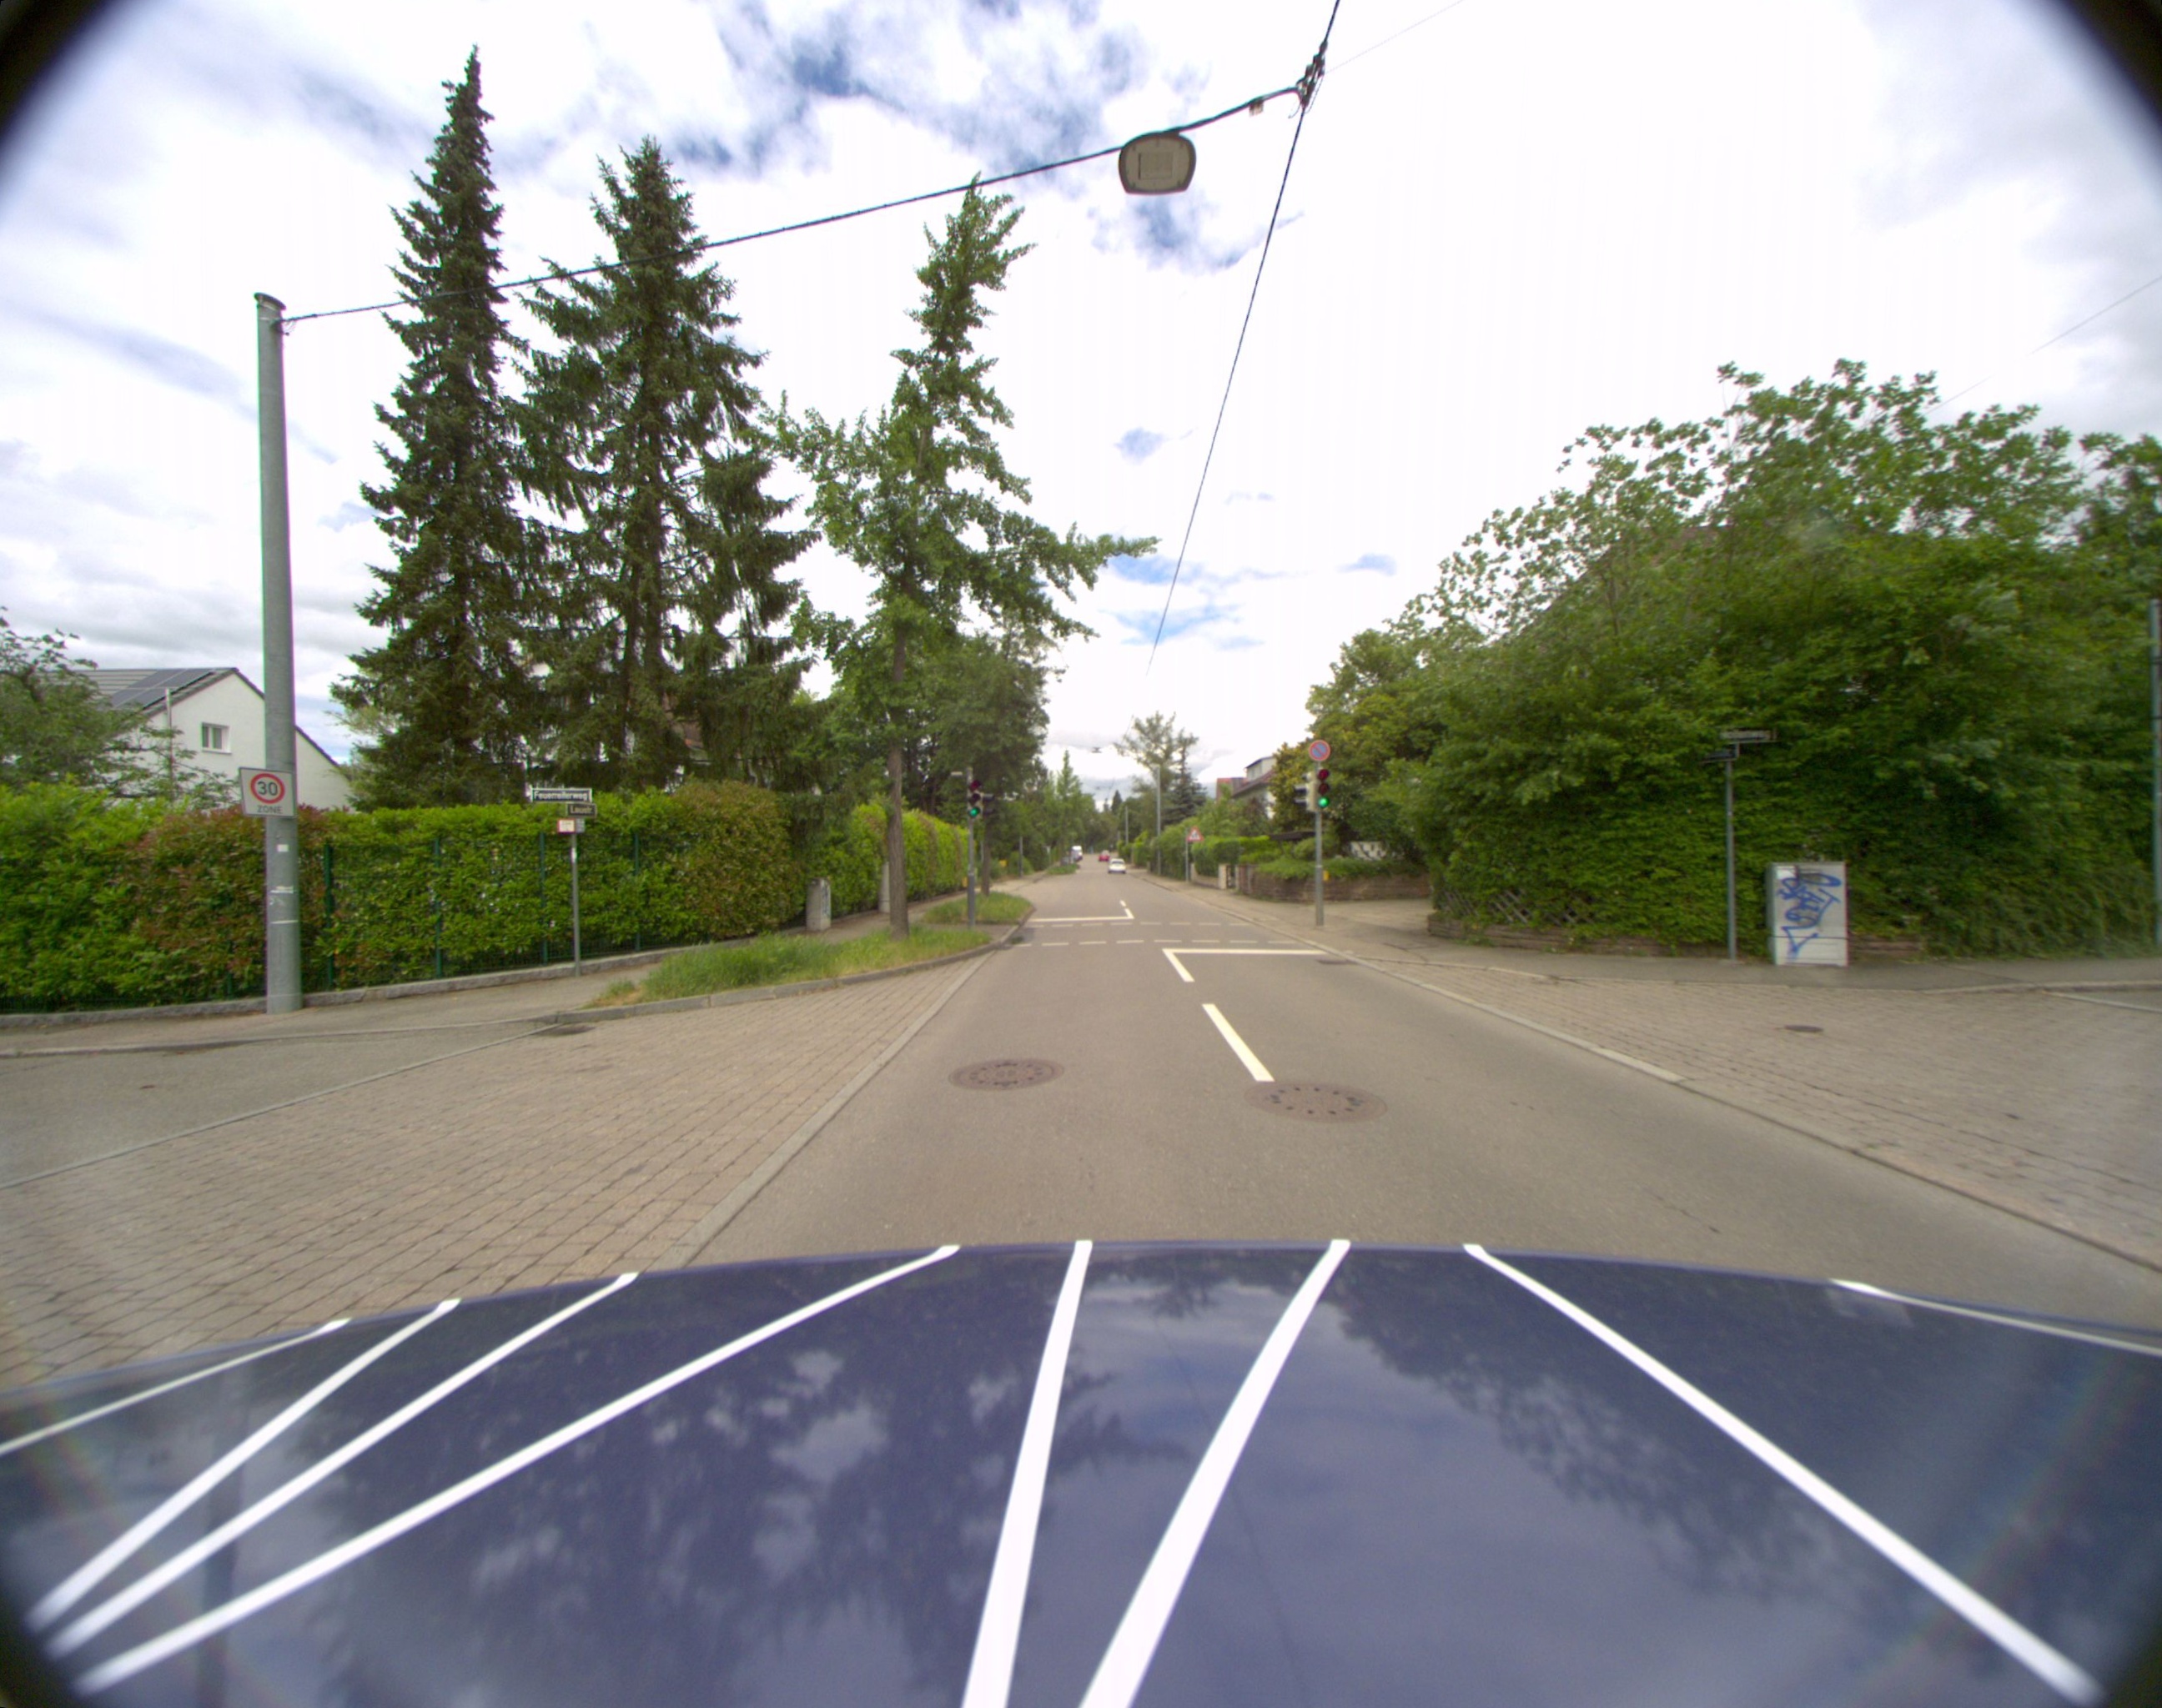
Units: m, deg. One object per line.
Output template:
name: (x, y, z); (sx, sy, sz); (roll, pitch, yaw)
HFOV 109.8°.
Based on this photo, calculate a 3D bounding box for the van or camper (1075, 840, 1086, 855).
van or camper: (-0.158, -1.274, 148.918); (2.046, 2.605, 7.036); (-2, 2, -1)

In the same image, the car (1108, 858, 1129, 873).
car: (3.900, 1.178, 79.493); (1.859, 1.443, 4.281); (1, 0, 0)

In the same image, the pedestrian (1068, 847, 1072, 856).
pedestrian: (-2.113, -0.531, 150.425); (0.671, 1.689, 0.918); (0, 2, 2)

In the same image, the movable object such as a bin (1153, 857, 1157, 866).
movable object such as a bin: (7.569, 0.788, 77.737); (0.379, 0.945, 0.512); (-4, 1, -2)

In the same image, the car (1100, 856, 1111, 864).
car: (4.409, 1.049, 136.442); (1.810, 1.423, 4.118); (-3, 0, 0)

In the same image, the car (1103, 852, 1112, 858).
car: (5.929, 0.213, 169.528); (1.810, 1.423, 4.300); (0, 0, 0)
